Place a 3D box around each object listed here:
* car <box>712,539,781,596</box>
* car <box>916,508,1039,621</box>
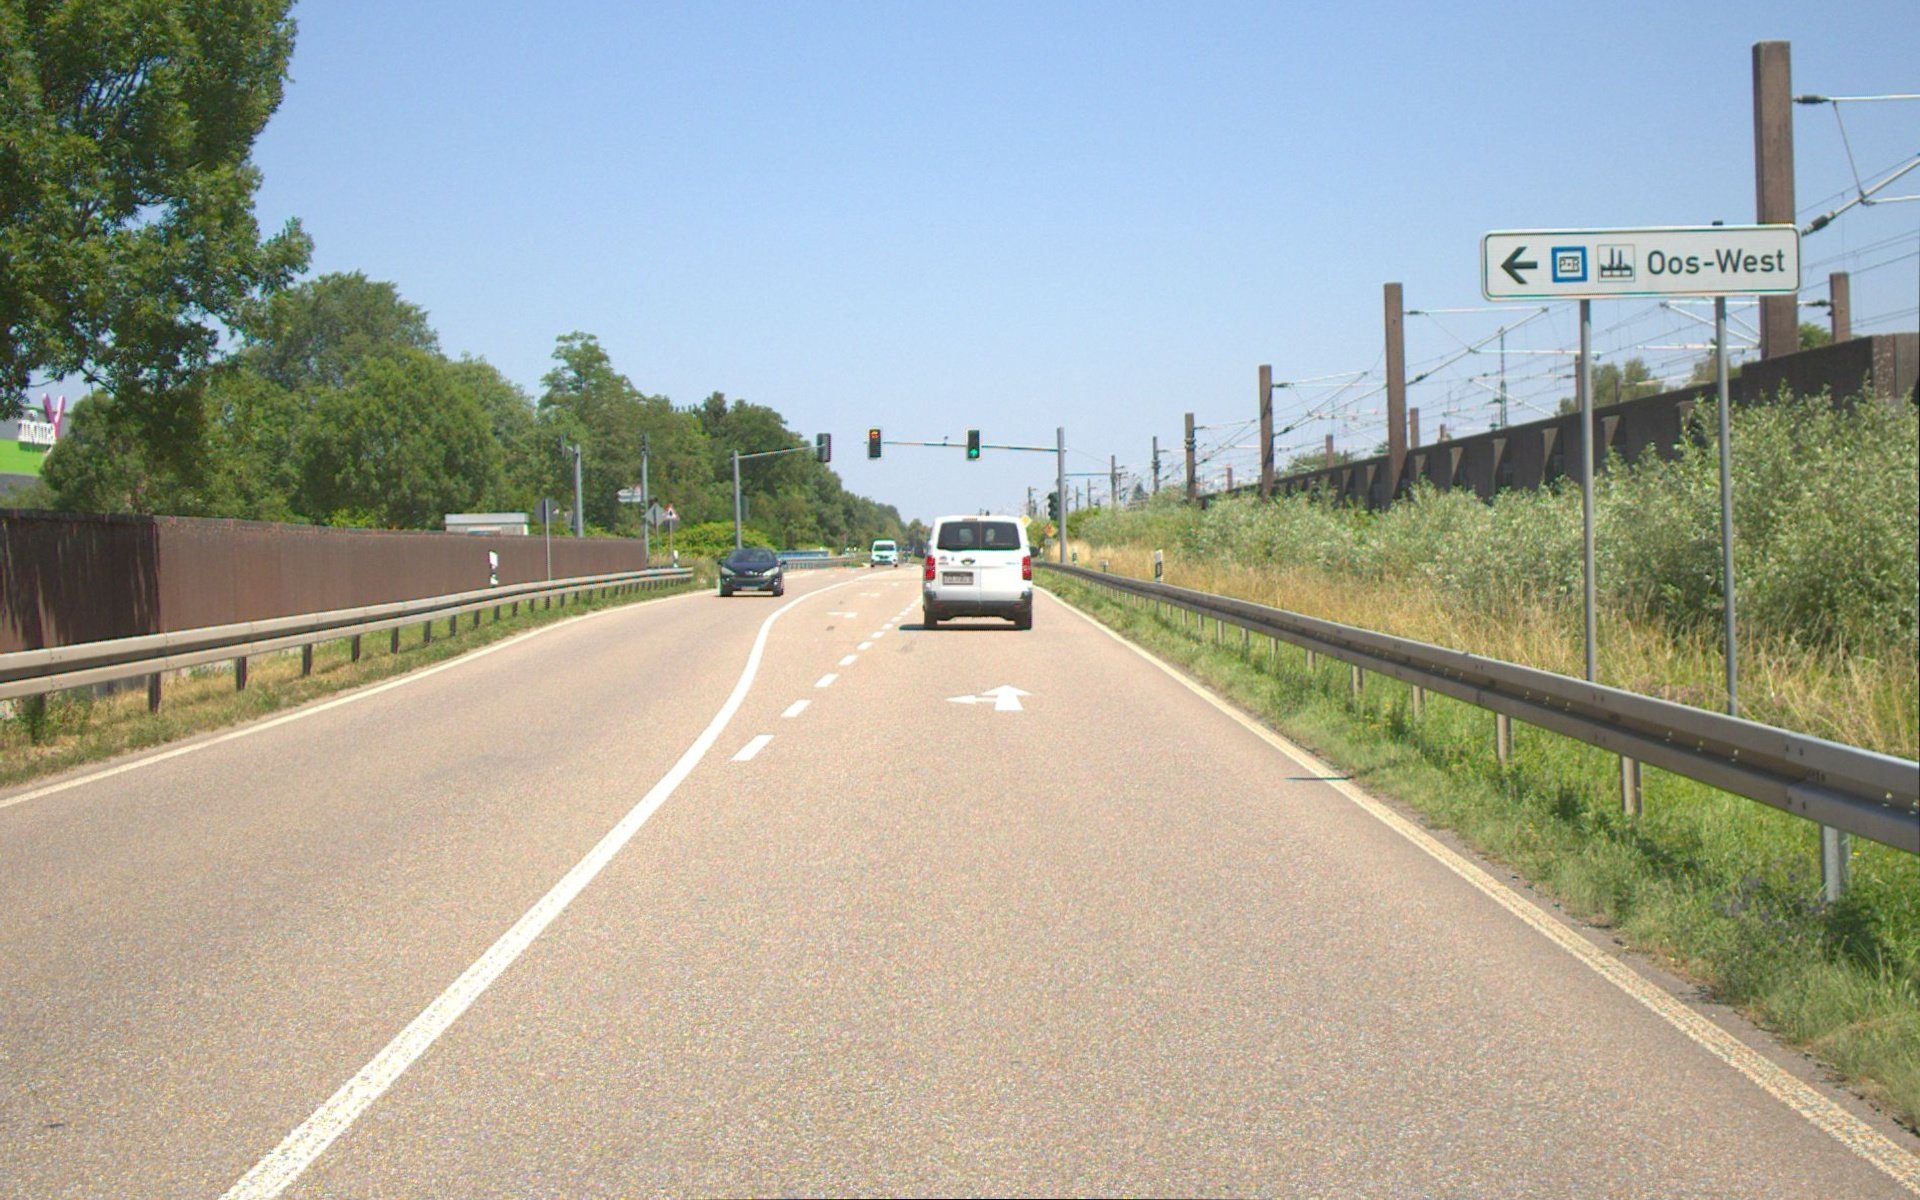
[{"bbox_3d":[-6.255,-0.964,101.017,1.819,1.590,4.000,1,1,-1],"label":"car"},{"bbox_3d":[0.302,-0.628,58.873,1.993,1.843,4.000,1,1,0],"label":"car"}]
